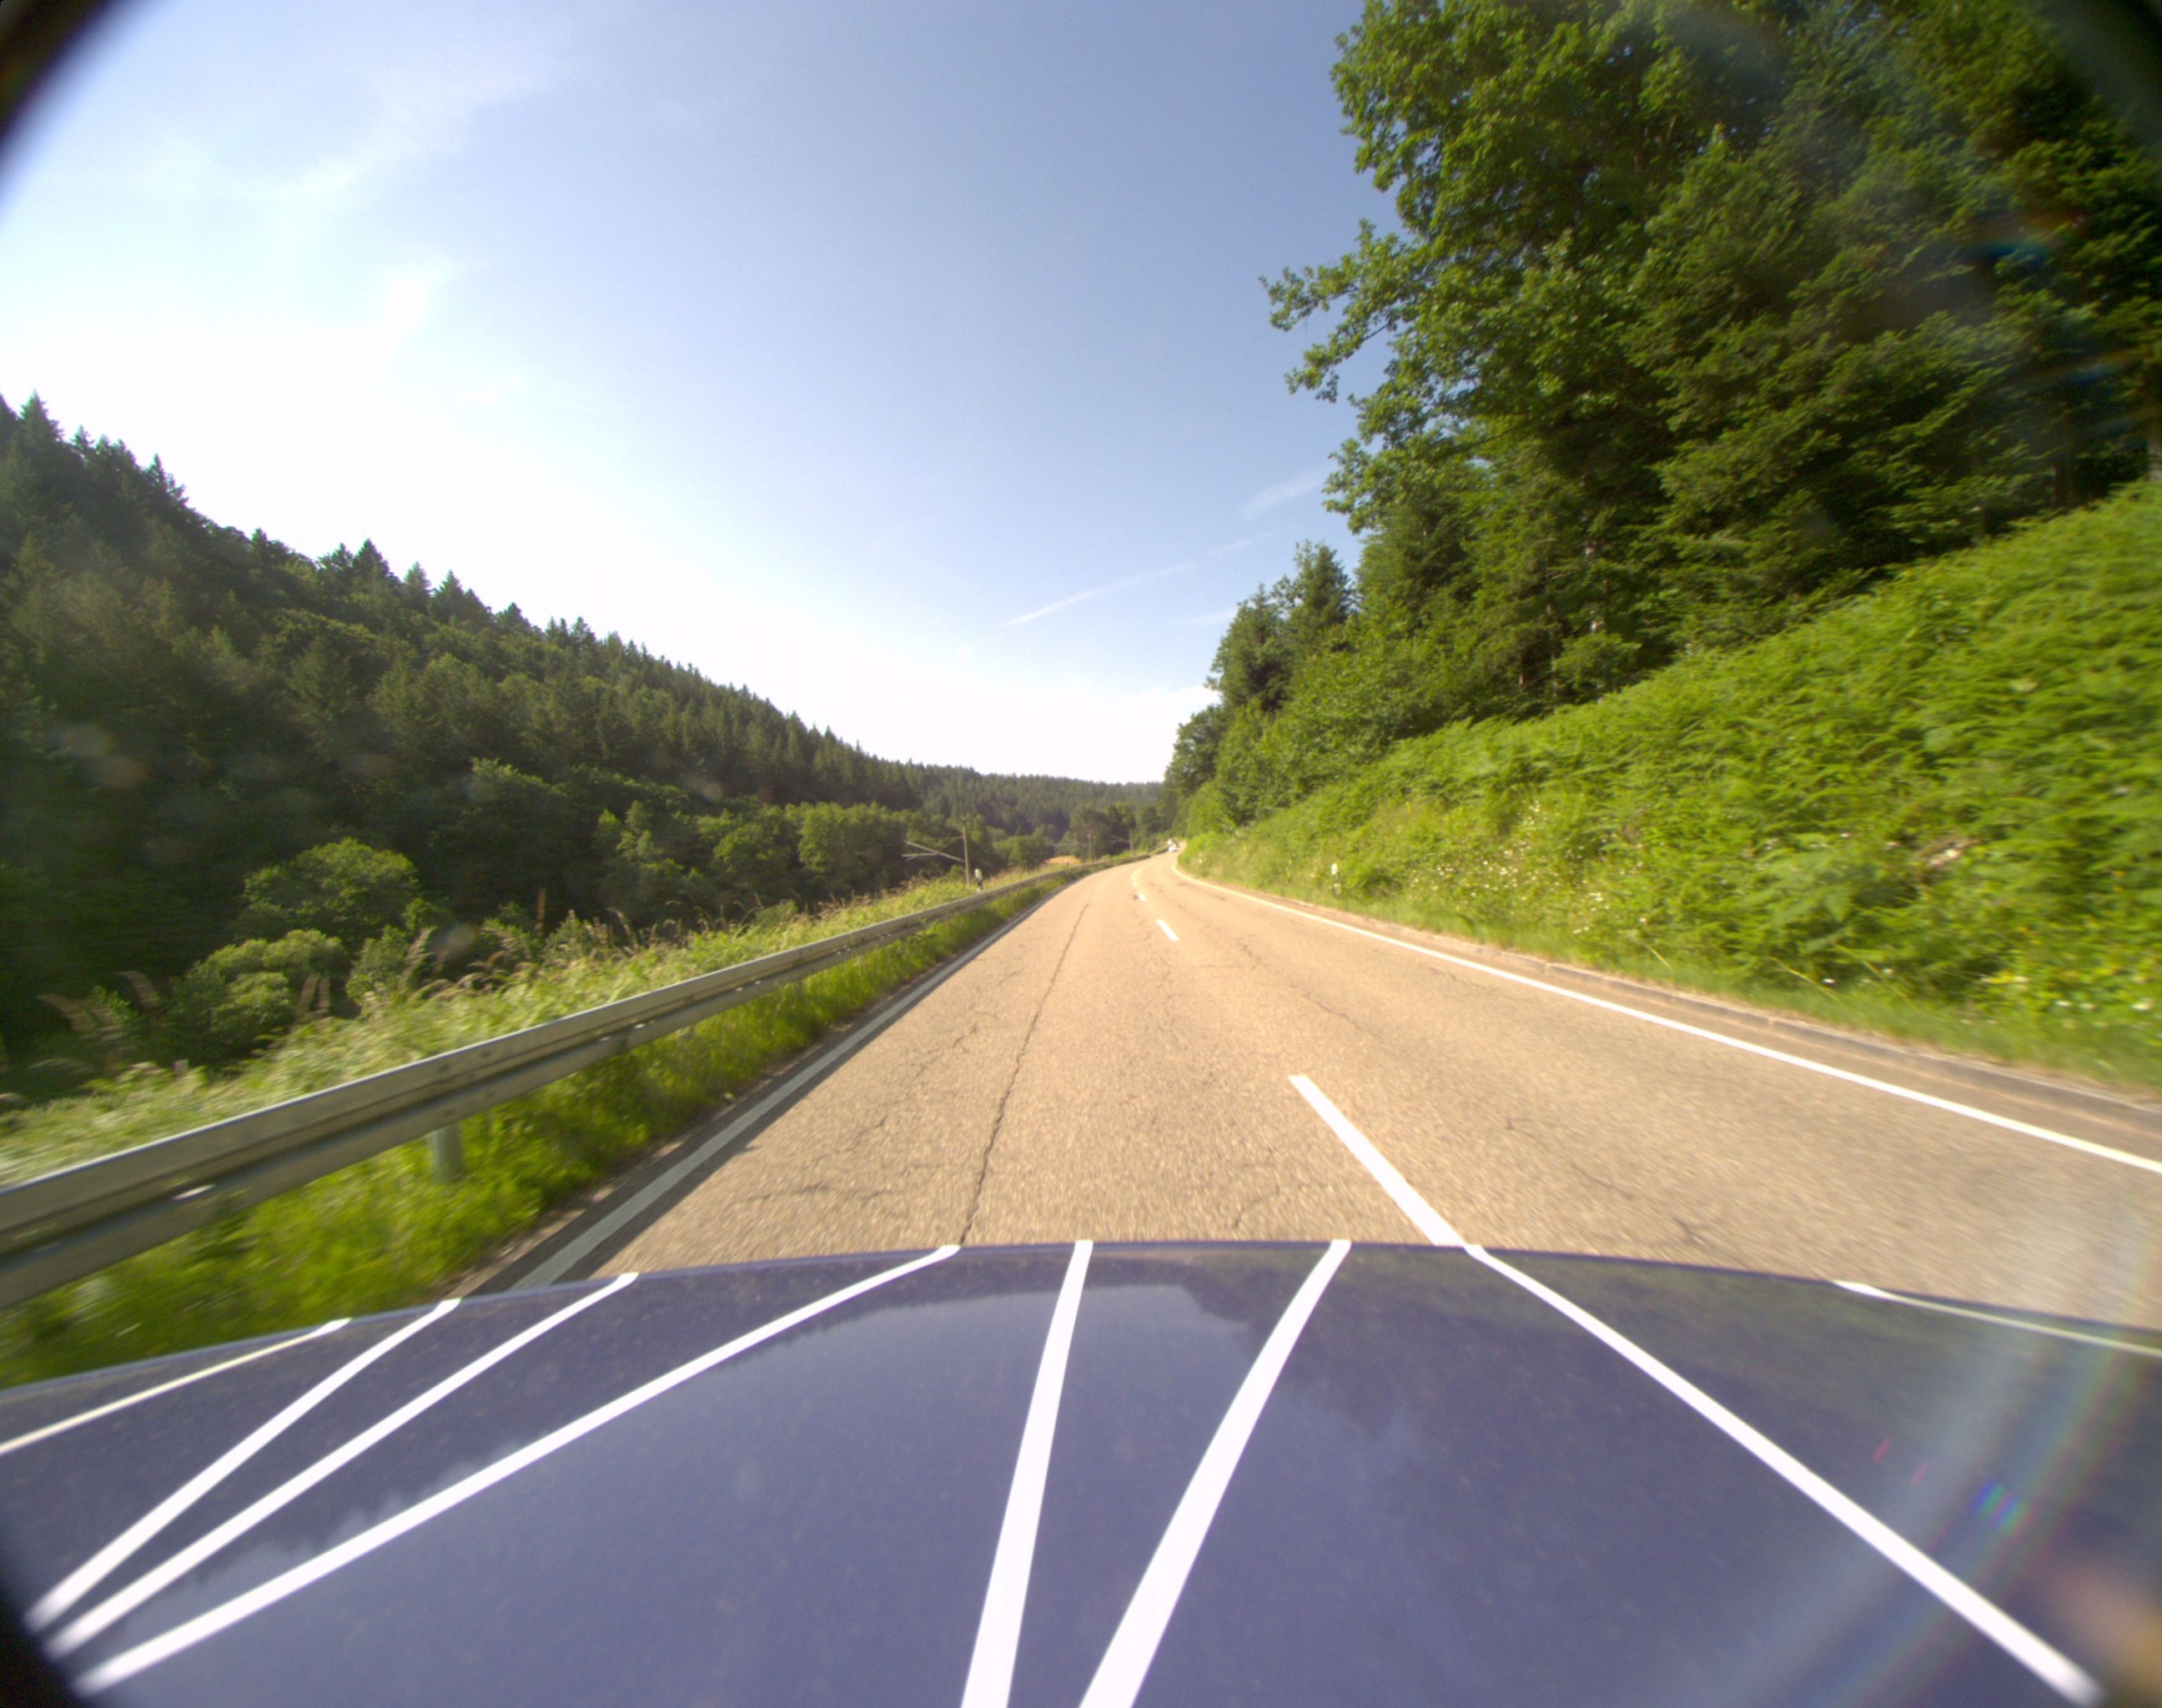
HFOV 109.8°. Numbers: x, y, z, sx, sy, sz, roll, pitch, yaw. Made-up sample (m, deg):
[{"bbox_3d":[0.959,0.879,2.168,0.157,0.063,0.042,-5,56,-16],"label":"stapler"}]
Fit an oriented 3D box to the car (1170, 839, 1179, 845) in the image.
[{"bbox_3d":[23.740,-3.046,193.411,1.702,1.543,3.788,-5,2,2],"label":"car"}]
